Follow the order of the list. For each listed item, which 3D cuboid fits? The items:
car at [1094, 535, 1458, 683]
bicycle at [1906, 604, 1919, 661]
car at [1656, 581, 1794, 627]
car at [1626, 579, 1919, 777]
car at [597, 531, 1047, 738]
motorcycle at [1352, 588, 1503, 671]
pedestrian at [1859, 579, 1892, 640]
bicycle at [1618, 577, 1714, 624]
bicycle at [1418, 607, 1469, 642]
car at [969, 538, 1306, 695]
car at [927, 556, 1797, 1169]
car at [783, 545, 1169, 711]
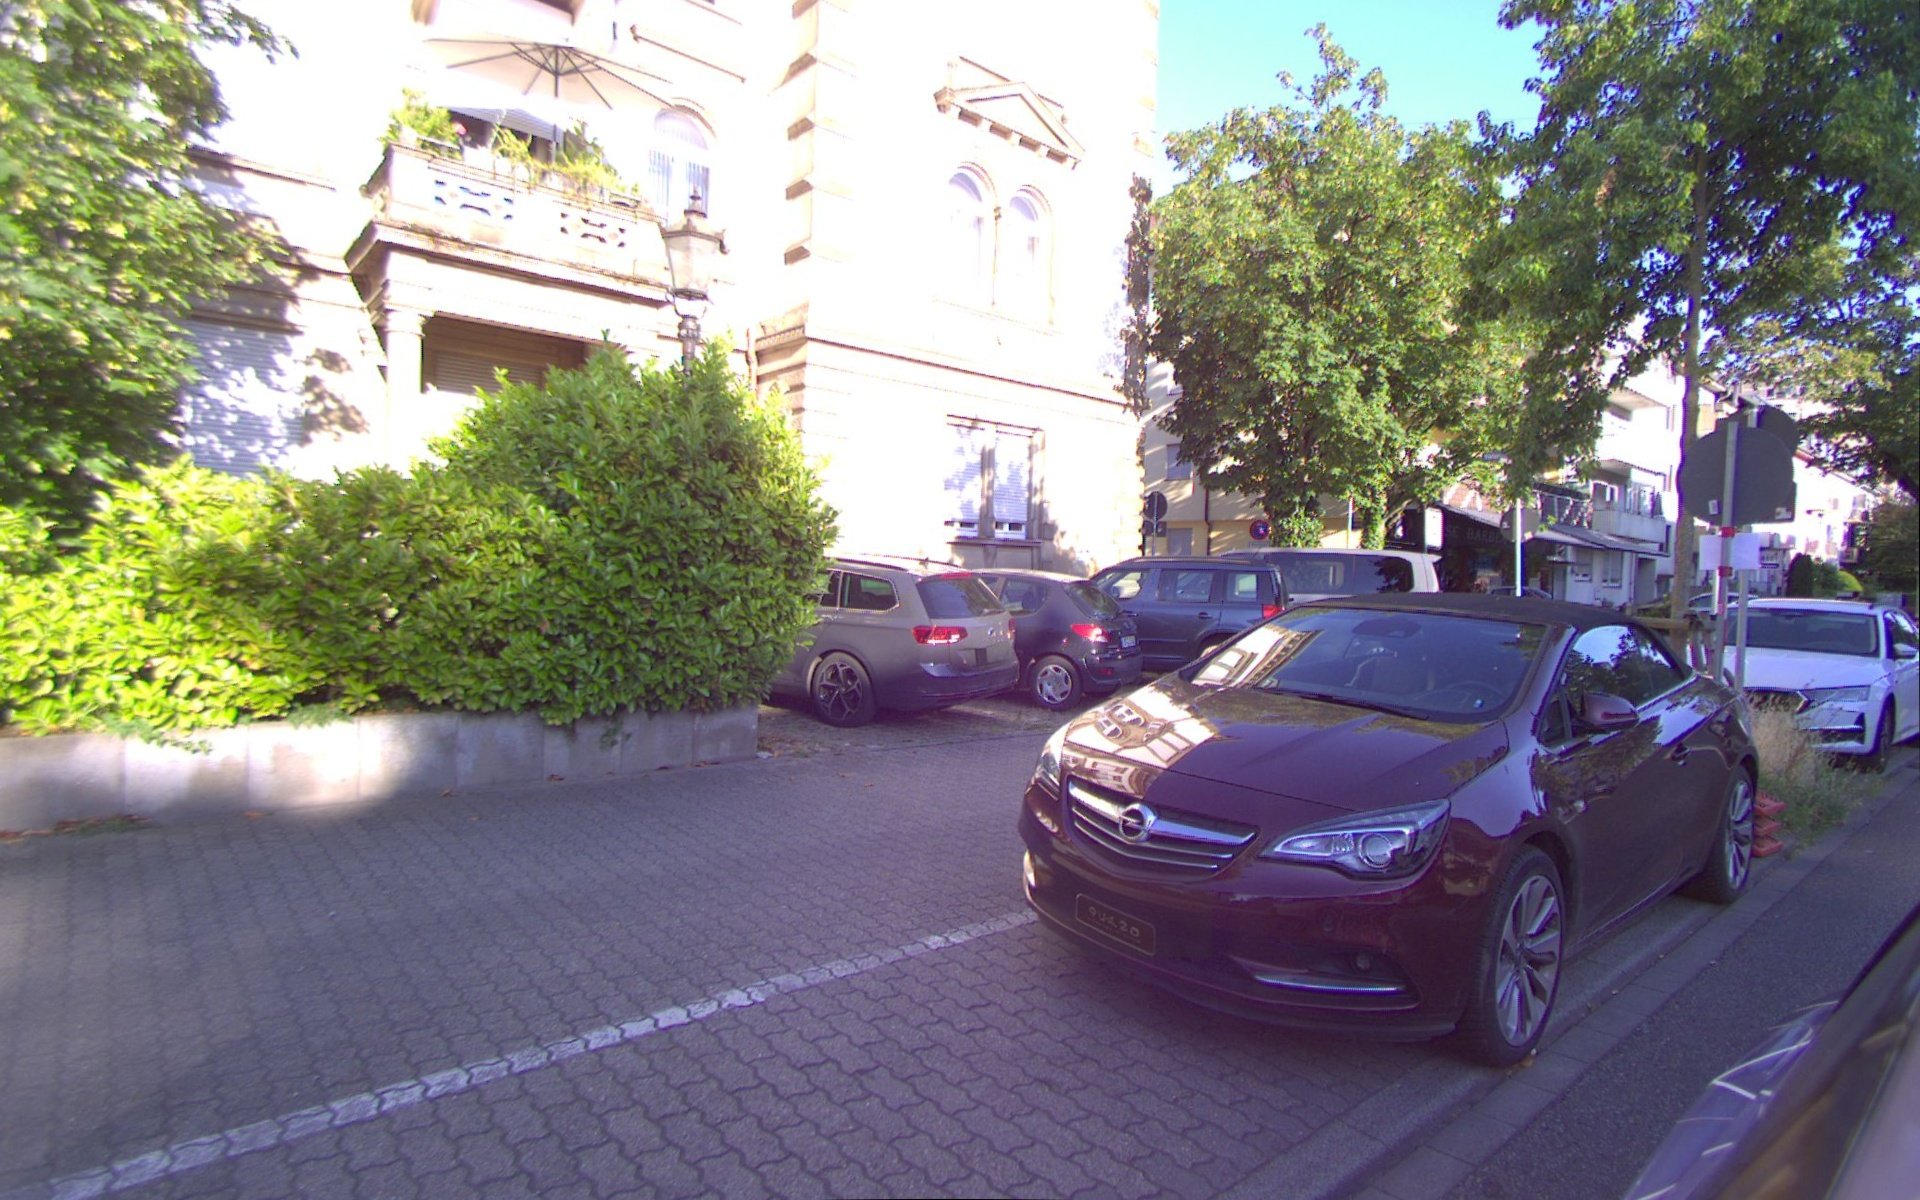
[{"bbox_3d":[4.635,0.048,15.187,4.881,1.923,1.907,2,1,22],"label":"car"},{"bbox_3d":[20.515,0.741,20.495,0.602,1.176,1.905,1,3,-13],"label":"bicycle"},{"bbox_3d":[28.203,0.105,37.384,1.550,1.523,3.869,0,2,-45],"label":"car"},{"bbox_3d":[8.415,0.589,10.022,4.540,1.496,1.825,0,2,-40],"label":"car"},{"bbox_3d":[-1.449,0.194,9.992,4.220,1.529,1.772,4,3,32],"label":"car"},{"bbox_3d":[7.829,0.454,17.010,2.153,1.255,0.778,3,2,40],"label":"motorcycle"},{"bbox_3d":[27.539,0.273,30.454,0.552,1.794,0.619,2,0,-40],"label":"pedestrian"},{"bbox_3d":[23.462,-0.010,33.660,0.912,1.459,2.457,0,2,-42],"label":"bicycle"},{"bbox_3d":[11.441,0.571,23.929,1.504,0.777,0.486,0,2,-40],"label":"bicycle"},{"bbox_3d":[2.335,0.127,13.232,4.050,1.720,1.776,3,2,21],"label":"car"},{"bbox_3d":[2.178,0.616,4.627,4.534,1.437,1.761,0,4,-41],"label":"car"},{"bbox_3d":[0.145,0.213,11.605,4.061,1.458,1.701,4,2,27],"label":"car"}]
